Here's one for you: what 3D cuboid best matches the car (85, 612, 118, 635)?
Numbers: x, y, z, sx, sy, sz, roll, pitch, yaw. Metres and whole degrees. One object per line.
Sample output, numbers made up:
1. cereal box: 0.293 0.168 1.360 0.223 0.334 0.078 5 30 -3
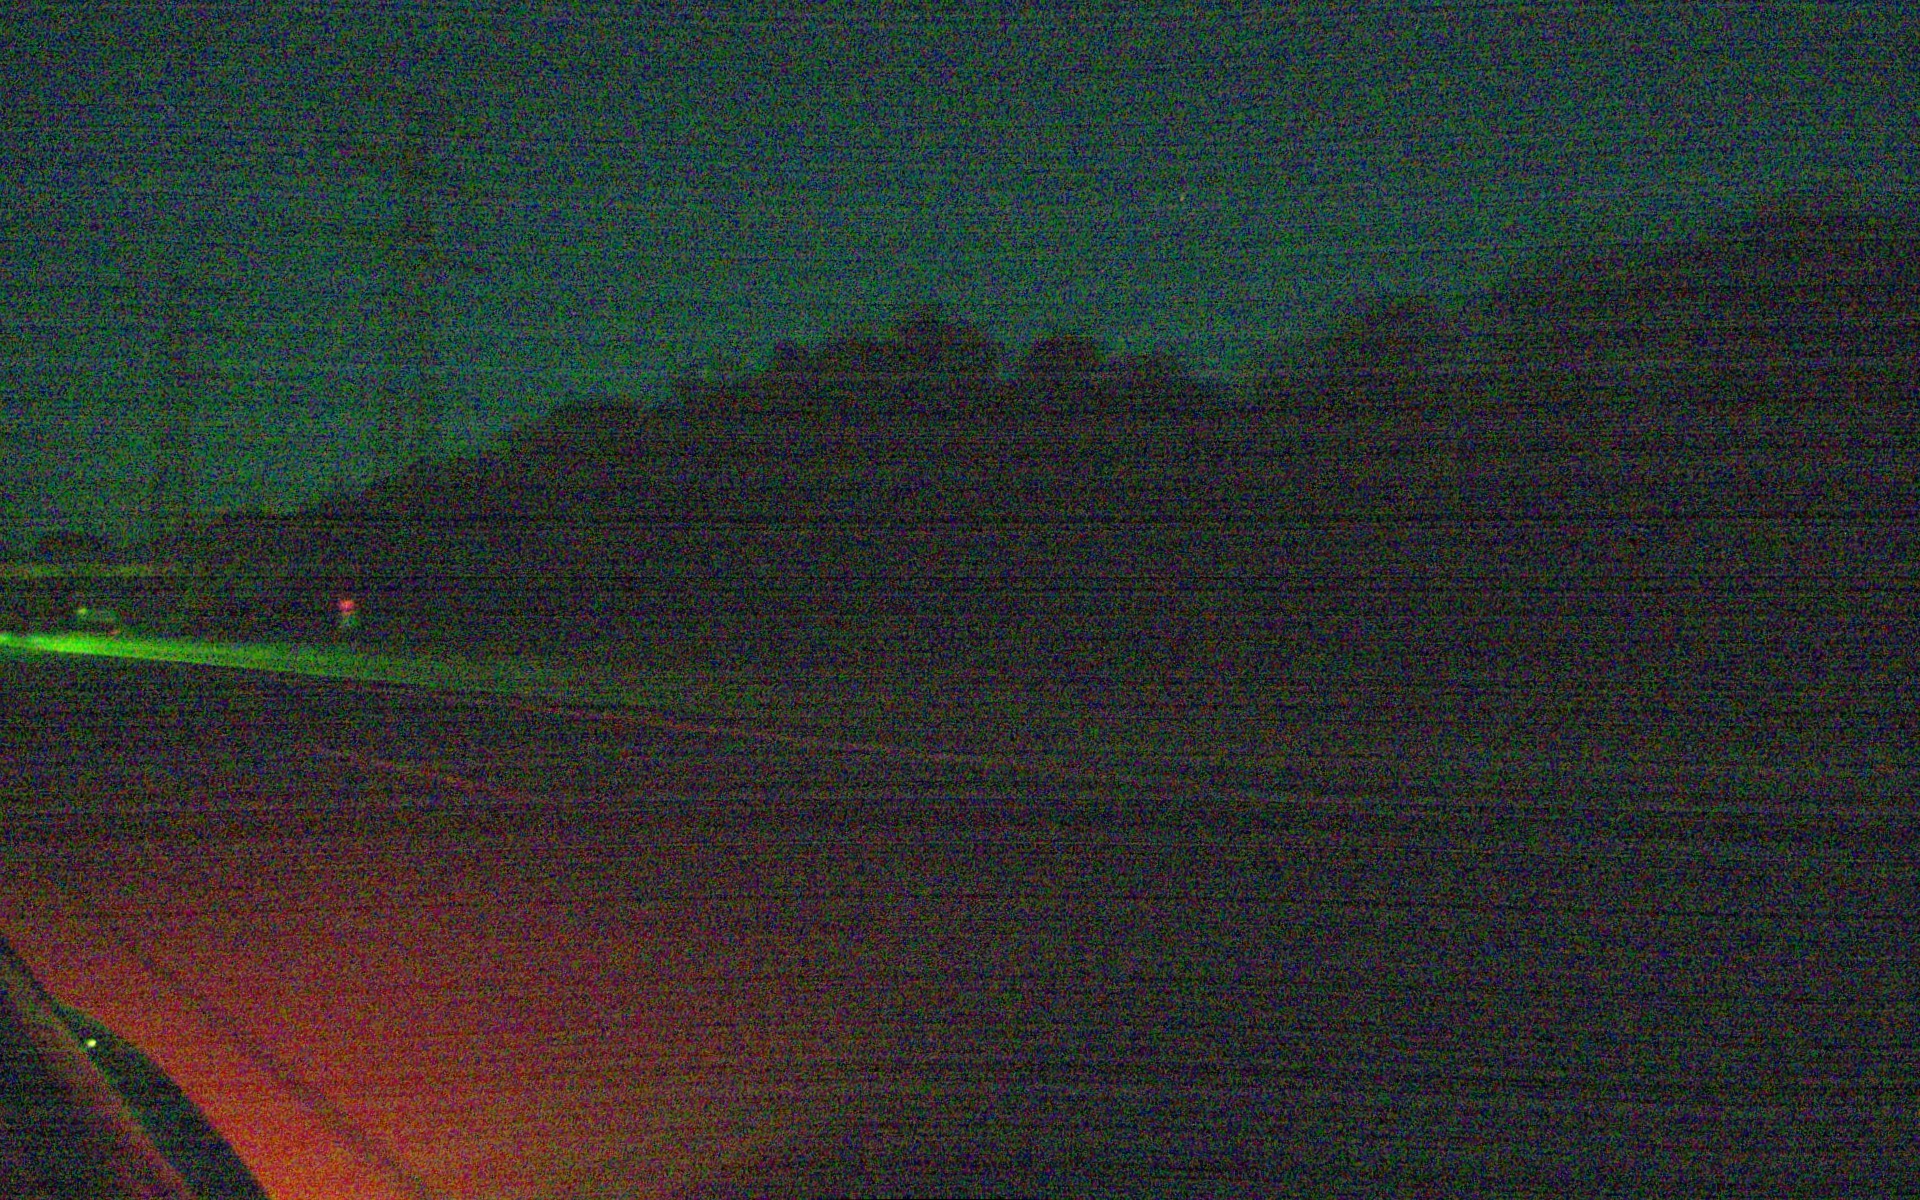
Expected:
1. car: -86.515 2.389 101.961 3.998 2.261 1.973 -1 -1 41
